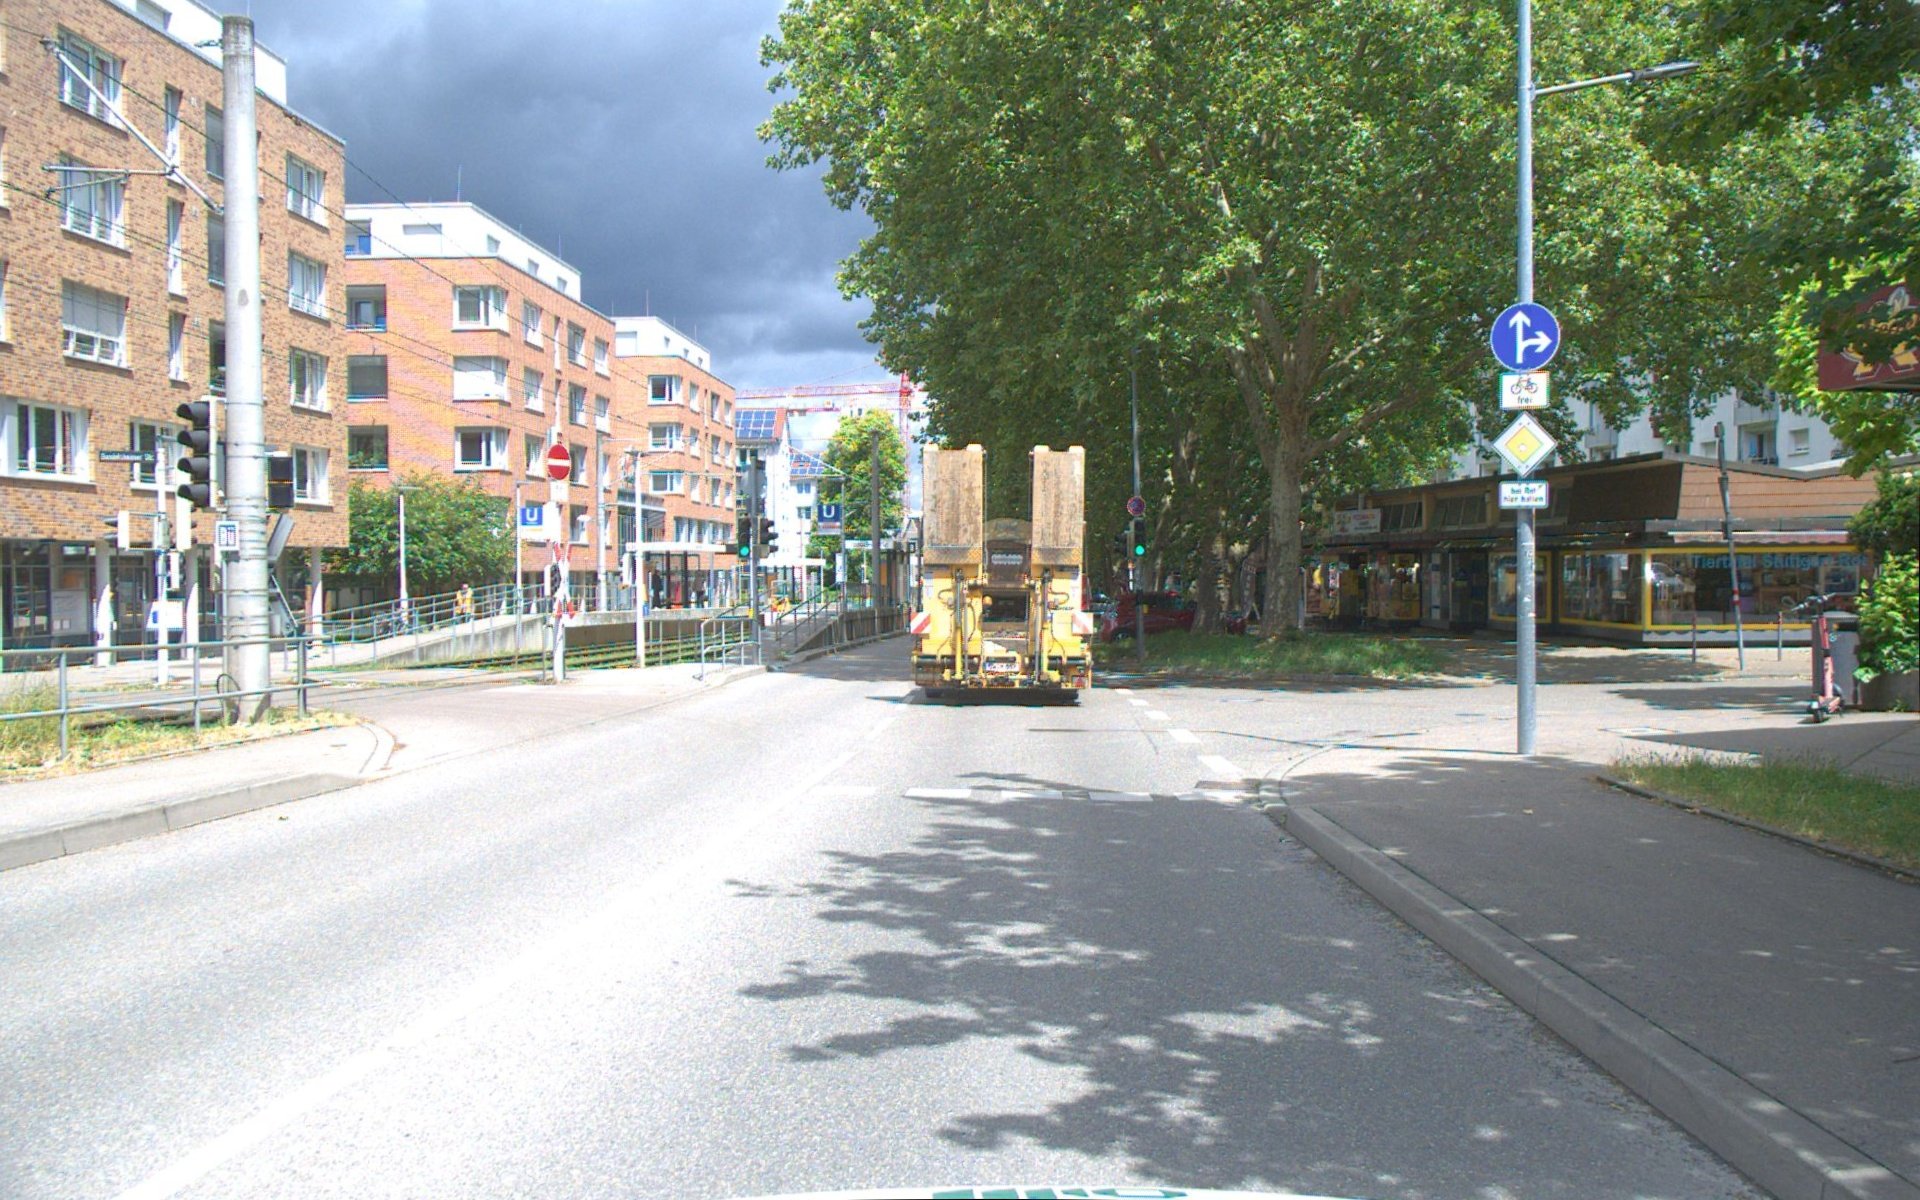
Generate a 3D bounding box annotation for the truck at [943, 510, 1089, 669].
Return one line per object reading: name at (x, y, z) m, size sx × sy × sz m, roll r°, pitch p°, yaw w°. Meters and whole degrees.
truck at (1.374, -0.208, 37.562) m, size 2.927 × 3.190 × 7.891 m, roll 1°, pitch 0°, yaw 3°

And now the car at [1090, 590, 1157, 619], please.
car at (9.722, 0.280, 98.634) m, size 3.754 × 1.589 × 1.618 m, roll -1°, pitch 0°, yaw -4°

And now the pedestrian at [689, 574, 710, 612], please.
pedestrian at (-11.481, -0.314, 72.866) m, size 0.735 × 1.657 × 0.816 m, roll 1°, pitch 0°, yaw 3°

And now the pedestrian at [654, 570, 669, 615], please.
pedestrian at (-11.999, -0.281, 66.498) m, size 0.523 × 1.794 × 0.528 m, roll -1°, pitch -1°, yaw 0°

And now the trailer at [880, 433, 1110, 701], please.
trailer at (0.784, -0.441, 28.048) m, size 3.088 × 3.615 × 11.101 m, roll 1°, pitch 0°, yaw 3°

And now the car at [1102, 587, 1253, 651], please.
car at (5.825, 0.494, 44.615) m, size 3.944 × 1.639 × 1.732 m, roll -1°, pitch 0°, yaw 5°

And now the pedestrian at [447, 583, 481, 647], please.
pedestrian at (-14.765, 0.440, 49.273) m, size 0.728 × 1.857 × 0.829 m, roll -1°, pitch 0°, yaw 2°

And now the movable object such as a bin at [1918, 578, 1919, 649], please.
movable object such as a bin at (19.872, 0.281, 32.712) m, size 1.152 × 1.437 × 1.212 m, roll -2°, pitch 2°, yaw -2°

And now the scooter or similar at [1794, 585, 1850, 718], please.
scooter or similar at (8.963, 0.513, 17.182) m, size 0.369 × 1.330 × 1.228 m, roll -1°, pitch 0°, yaw 34°

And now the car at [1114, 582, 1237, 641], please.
car at (6.346, 0.335, 48.993) m, size 3.338 × 1.541 × 1.610 m, roll -3°, pitch 0°, yaw -2°

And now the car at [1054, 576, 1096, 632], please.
car at (5.747, 0.202, 83.316) m, size 1.865 × 2.626 × 6.836 m, roll -2°, pitch 0°, yaw 3°
